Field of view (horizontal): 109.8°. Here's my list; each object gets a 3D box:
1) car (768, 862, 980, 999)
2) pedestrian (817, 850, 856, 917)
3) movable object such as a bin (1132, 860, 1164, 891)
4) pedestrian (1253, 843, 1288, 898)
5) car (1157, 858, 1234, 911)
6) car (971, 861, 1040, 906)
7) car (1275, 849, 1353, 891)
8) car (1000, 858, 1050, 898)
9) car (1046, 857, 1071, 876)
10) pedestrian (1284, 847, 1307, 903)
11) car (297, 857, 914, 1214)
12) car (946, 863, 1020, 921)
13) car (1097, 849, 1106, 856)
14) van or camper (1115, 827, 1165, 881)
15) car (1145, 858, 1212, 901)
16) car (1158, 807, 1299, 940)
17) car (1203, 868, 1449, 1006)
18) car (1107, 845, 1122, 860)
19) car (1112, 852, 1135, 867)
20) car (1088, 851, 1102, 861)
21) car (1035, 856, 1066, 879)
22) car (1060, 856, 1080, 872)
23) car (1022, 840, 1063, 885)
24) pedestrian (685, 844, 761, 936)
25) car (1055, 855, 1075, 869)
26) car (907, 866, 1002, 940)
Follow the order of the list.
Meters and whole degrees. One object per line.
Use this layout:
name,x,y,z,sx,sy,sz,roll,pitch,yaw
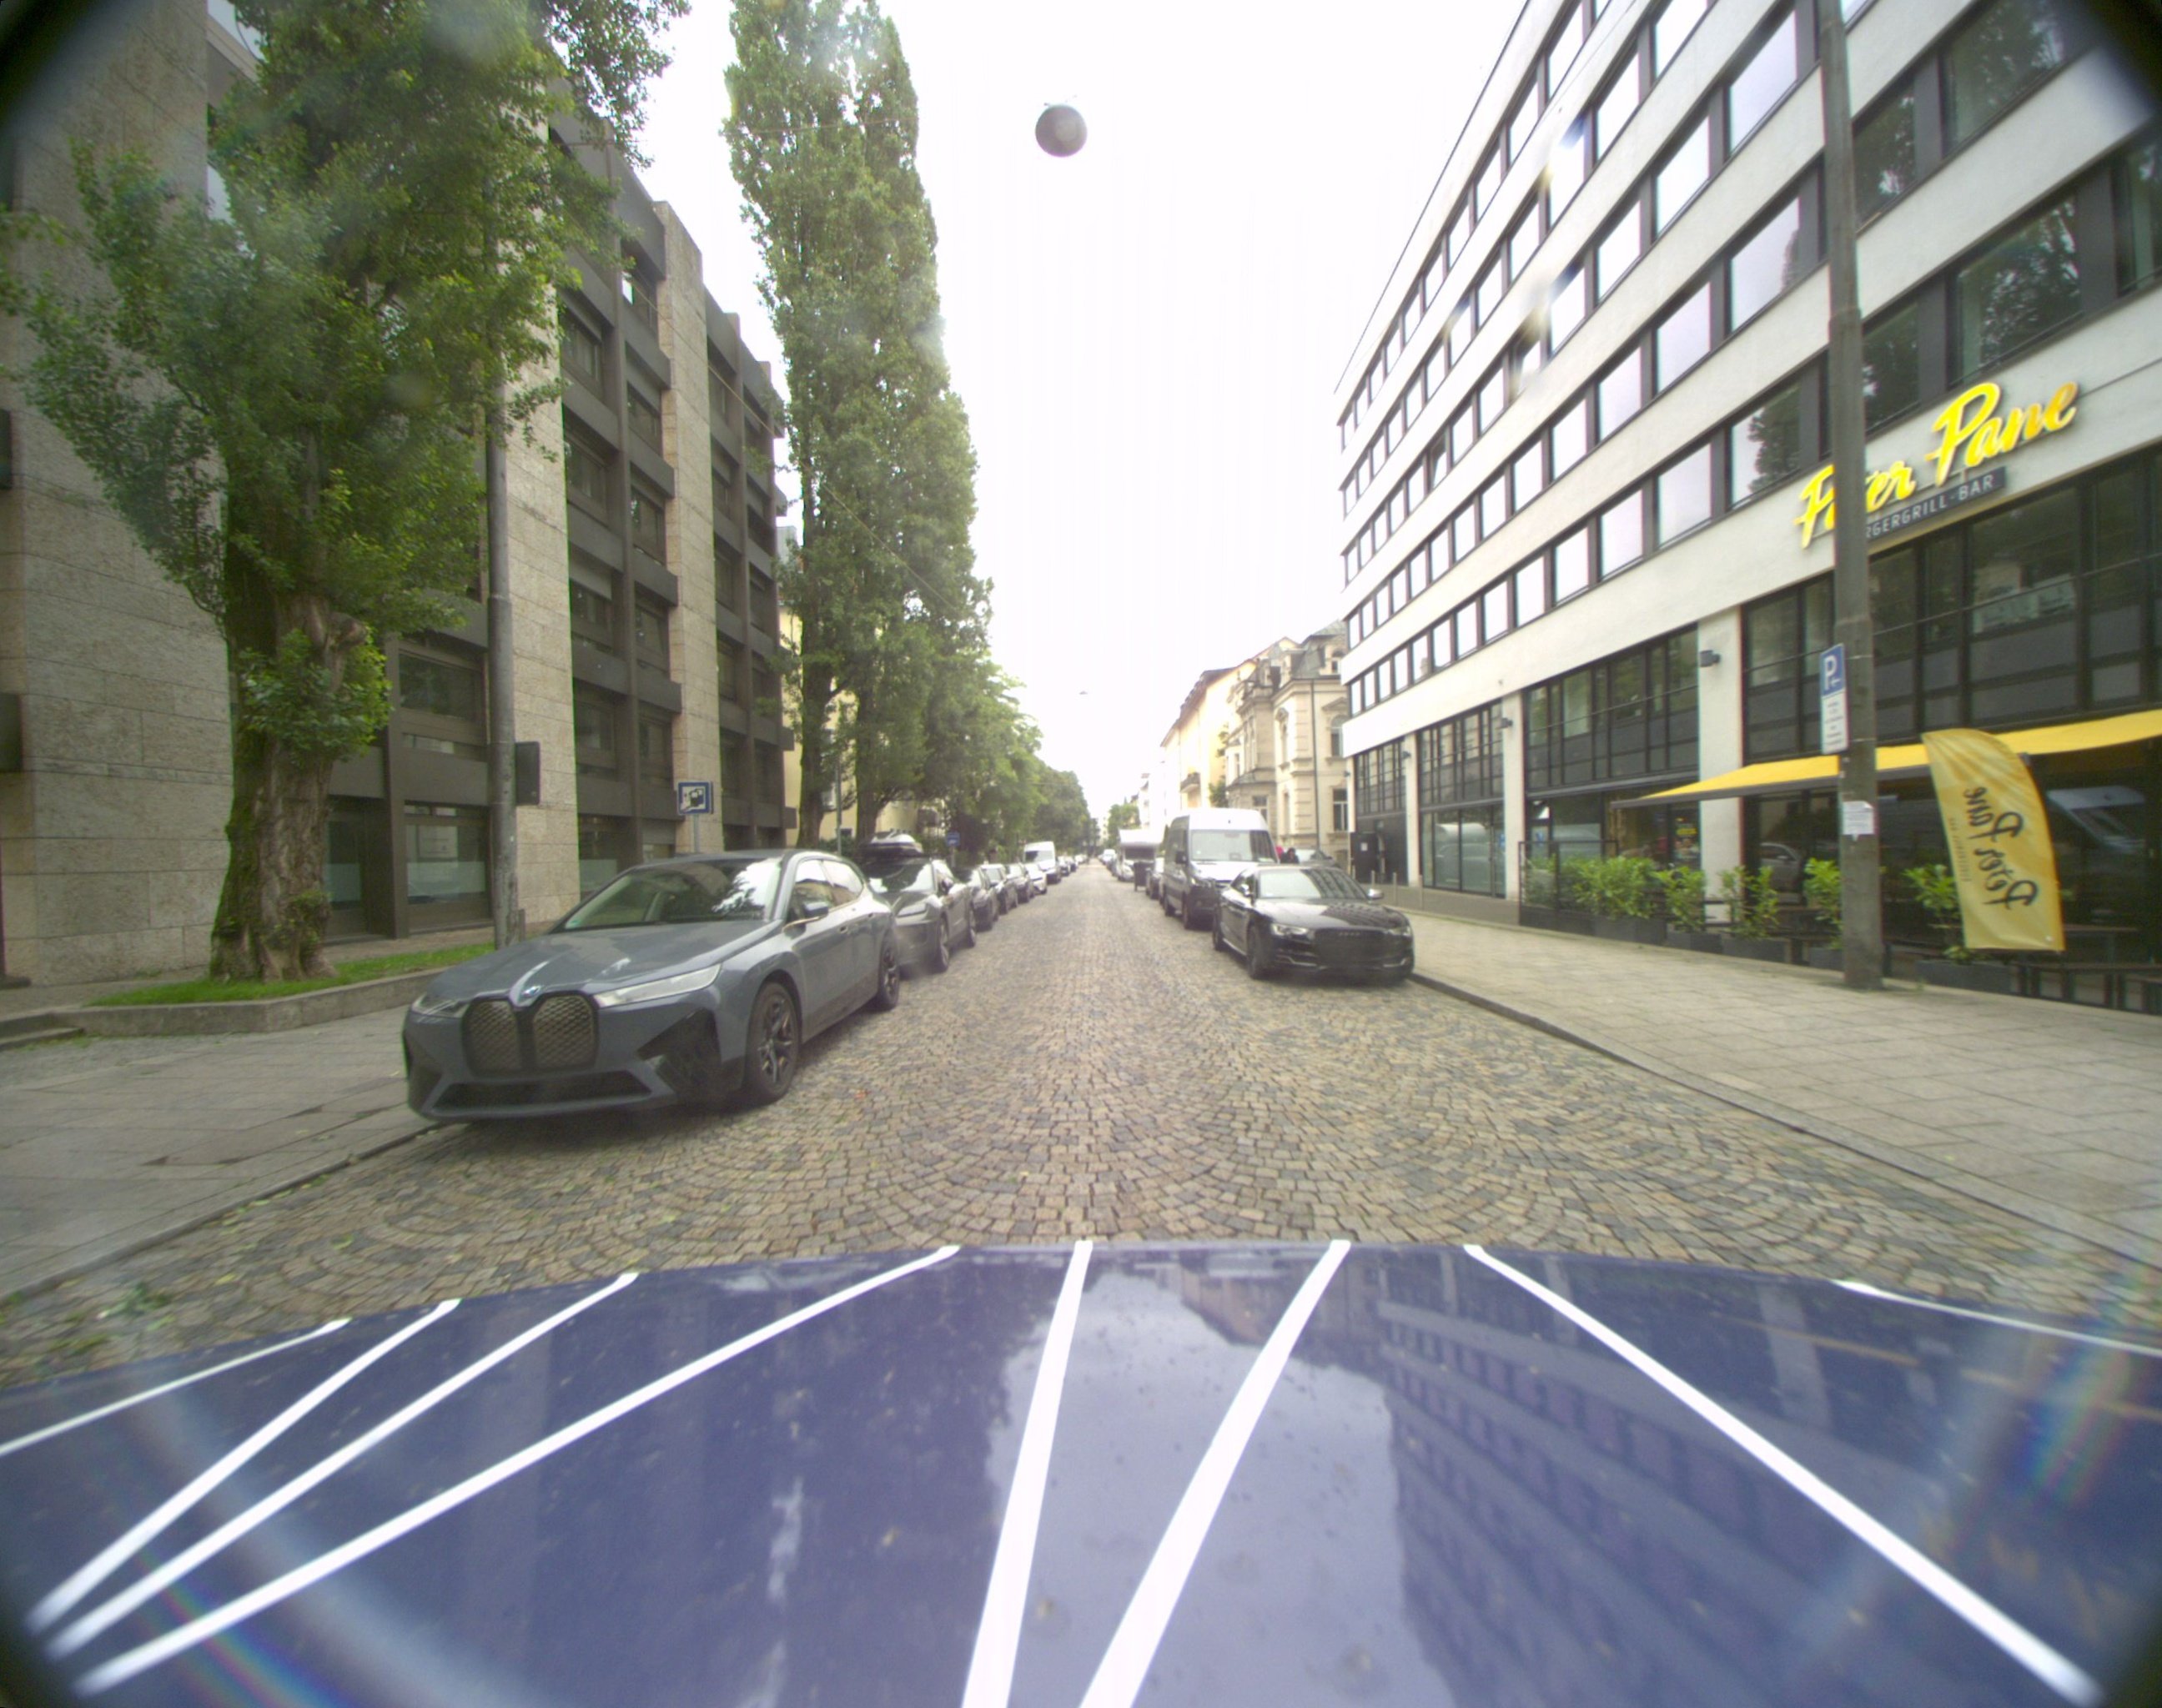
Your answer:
car,-2.869,0.974,11.653,1.998,1.573,4.342,-2,0,0
pedestrian,-5.706,0.680,17.793,0.645,1.528,0.709,-2,1,-2
movable object such as a bin,2.926,0.928,33.450,1.255,1.290,1.174,-1,1,-3
pedestrian,6.015,0.522,24.174,0.928,1.696,0.800,-2,1,4
car,3.440,0.874,23.483,1.998,1.422,4.001,-1,0,4
car,-2.666,1.020,27.614,1.998,1.379,3.873,-3,0,1
car,9.165,0.589,30.249,1.912,1.523,4.170,-2,0,2
car,-2.374,0.995,32.987,1.867,1.490,3.873,-3,0,-1
car,-1.890,1.053,64.267,1.999,1.379,3.873,-3,0,-1
pedestrian,6.716,0.646,23.822,0.575,1.738,0.651,-2,1,6
car,-2.918,0.934,6.195,2.018,1.690,4.672,-2,0,0
car,-2.825,1.070,22.609,1.604,1.422,3.562,-4,0,1
car,5.079,-0.345,186.732,1.999,1.680,3.873,-3,0,-1
van or camper,3.548,-0.035,47.380,2.464,3.029,7.317,-2,0,0
car,3.497,0.874,27.981,1.998,1.380,4.000,-1,0,1
car,3.087,0.354,17.288,2.065,2.476,5.848,-1,0,0
car,2.932,0.920,10.127,1.998,1.322,4.116,-1,0,1
car,5.766,-0.250,131.077,2.088,2.418,5.610,-3,0,0
car,4.255,0.524,76.549,1.999,1.401,3.873,-1,0,-1
car,2.235,0.259,119.723,1.999,1.401,3.872,1,1,-1
car,-2.078,0.926,52.151,1.999,1.379,3.873,-3,0,-1
car,-1.243,1.074,84.781,1.999,1.680,3.873,-3,0,-1
car,-2.248,0.473,45.568,2.088,2.418,5.610,-3,0,0
pedestrian,-6.902,0.674,14.682,0.867,1.704,0.913,-1,1,21
car,-1.694,0.861,79.955,1.999,1.379,3.873,-2,0,-1
car,-2.862,1.059,18.047,1.724,1.382,4.204,-3,0,-3
